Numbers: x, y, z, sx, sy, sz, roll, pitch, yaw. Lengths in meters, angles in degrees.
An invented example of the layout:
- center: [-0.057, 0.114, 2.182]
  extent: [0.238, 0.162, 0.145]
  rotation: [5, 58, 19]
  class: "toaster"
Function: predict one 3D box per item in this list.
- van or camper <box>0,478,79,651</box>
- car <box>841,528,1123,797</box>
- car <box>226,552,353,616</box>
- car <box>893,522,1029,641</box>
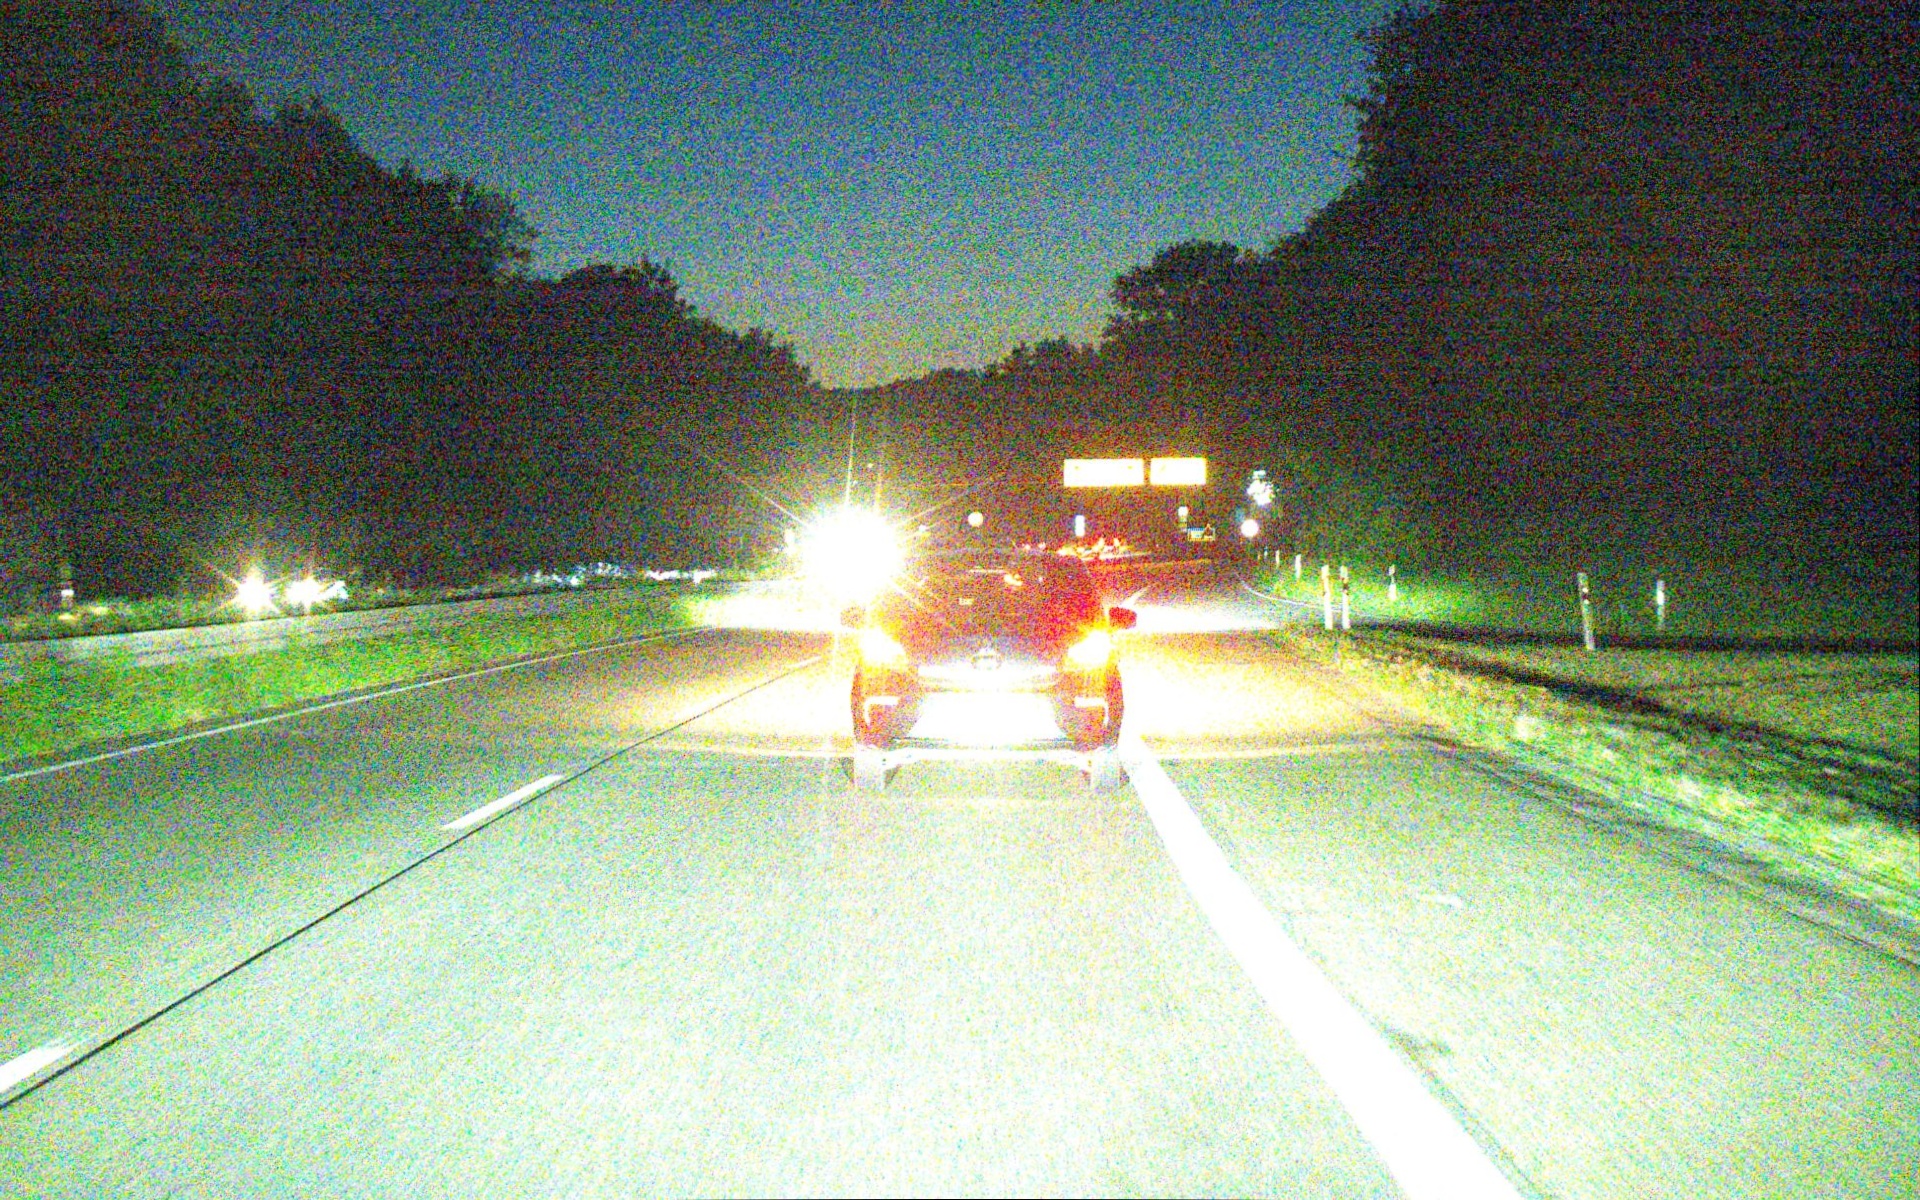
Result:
- center: [-15.724, -0.537, 53.049]
  extent: [2.294, 2.608, 7.666]
  rotation: [-1, 1, -1]
  class: "van or camper"
- center: [0.076, 0.320, 21.826]
  extent: [1.588, 1.503, 4.001]
  rotation: [1, 1, -1]
  class: "car"
- center: [-16.571, -0.412, 85.170]
  extent: [1.958, 1.452, 4.169]
  rotation: [-2, 1, 5]
  class: "car"
- center: [0.053, -0.315, 51.815]
  extent: [1.906, 1.692, 4.000]
  rotation: [0, 2, 2]
  class: "car"
